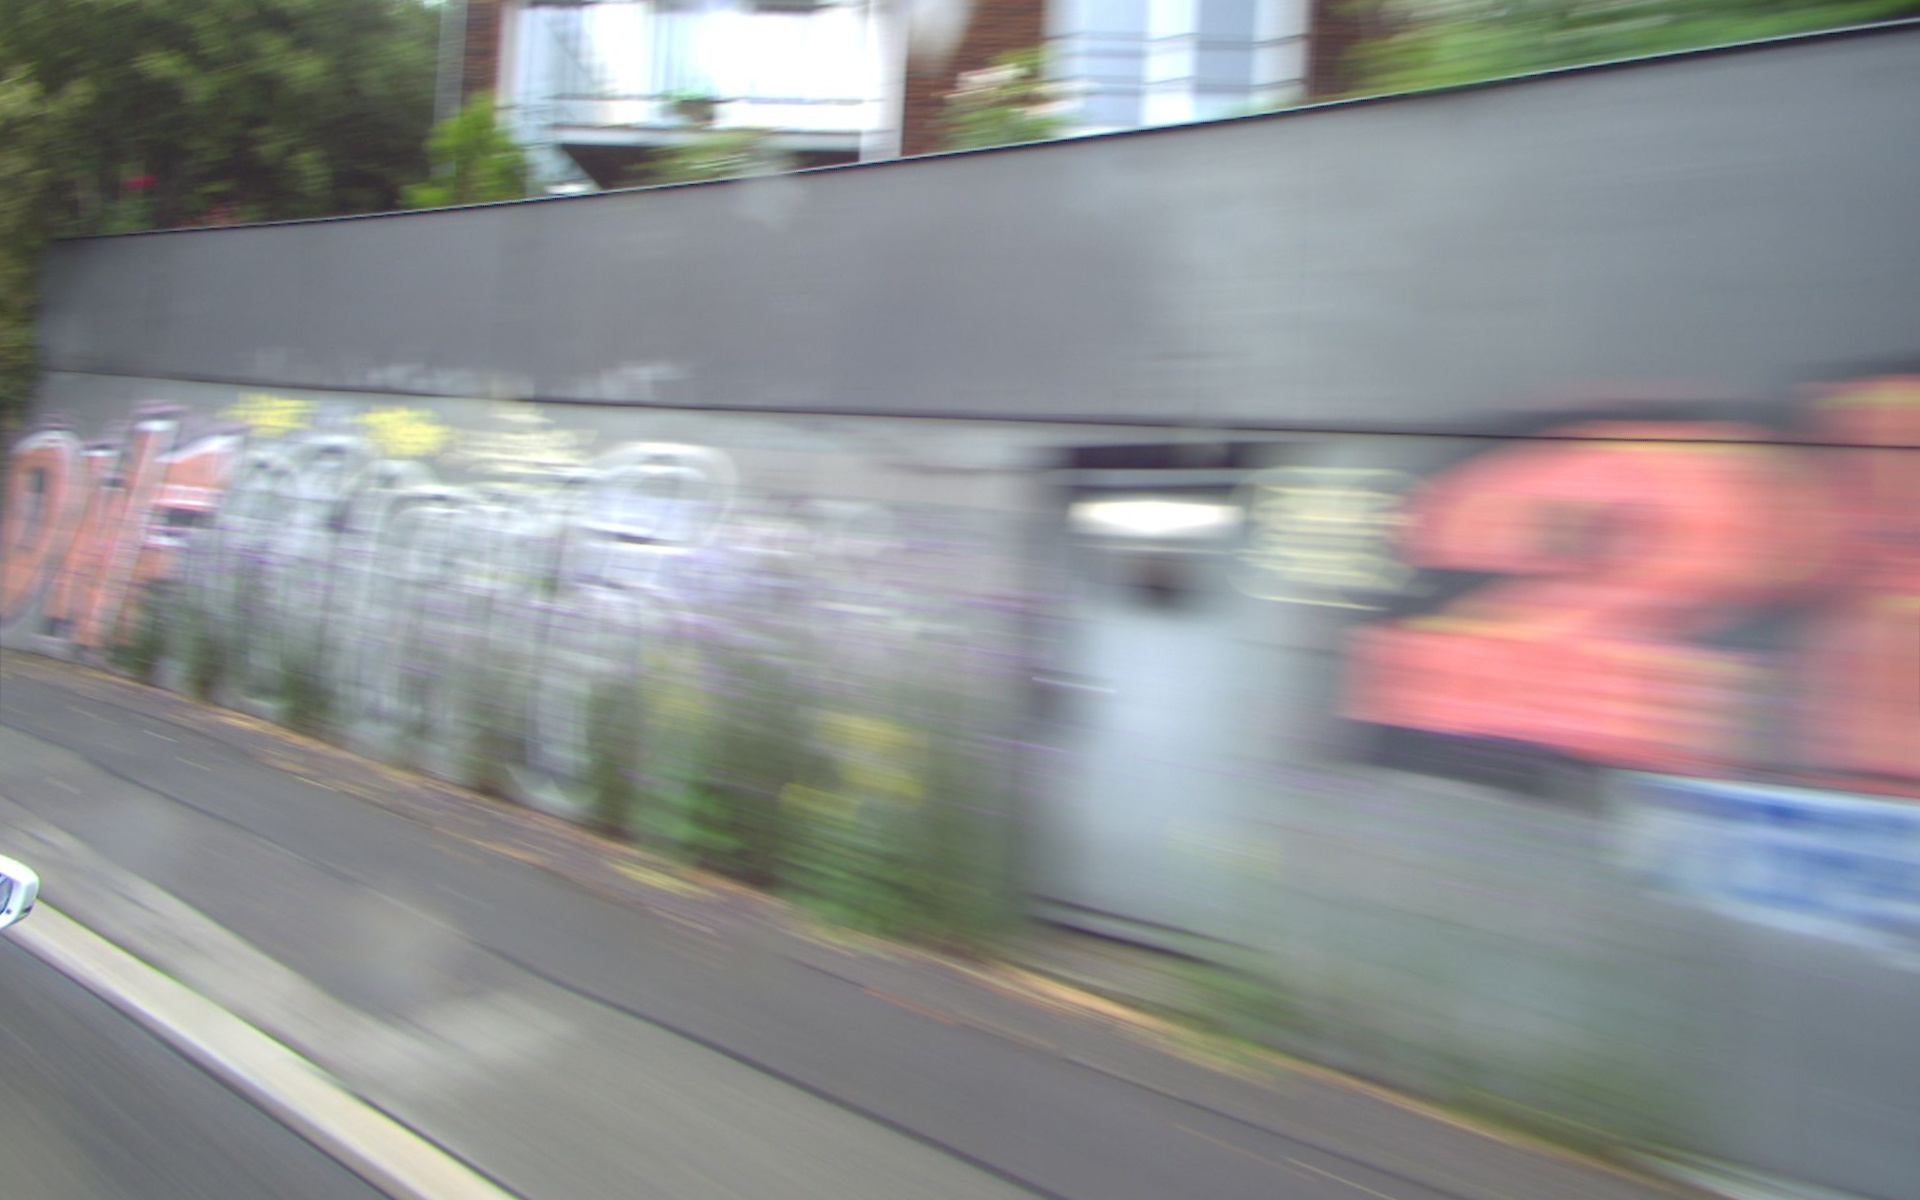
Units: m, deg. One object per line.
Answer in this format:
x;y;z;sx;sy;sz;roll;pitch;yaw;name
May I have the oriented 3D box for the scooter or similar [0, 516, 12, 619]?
-11.218;-0.432;10.905;1.396;1.130;0.347;6;-1;-2;scooter or similar
